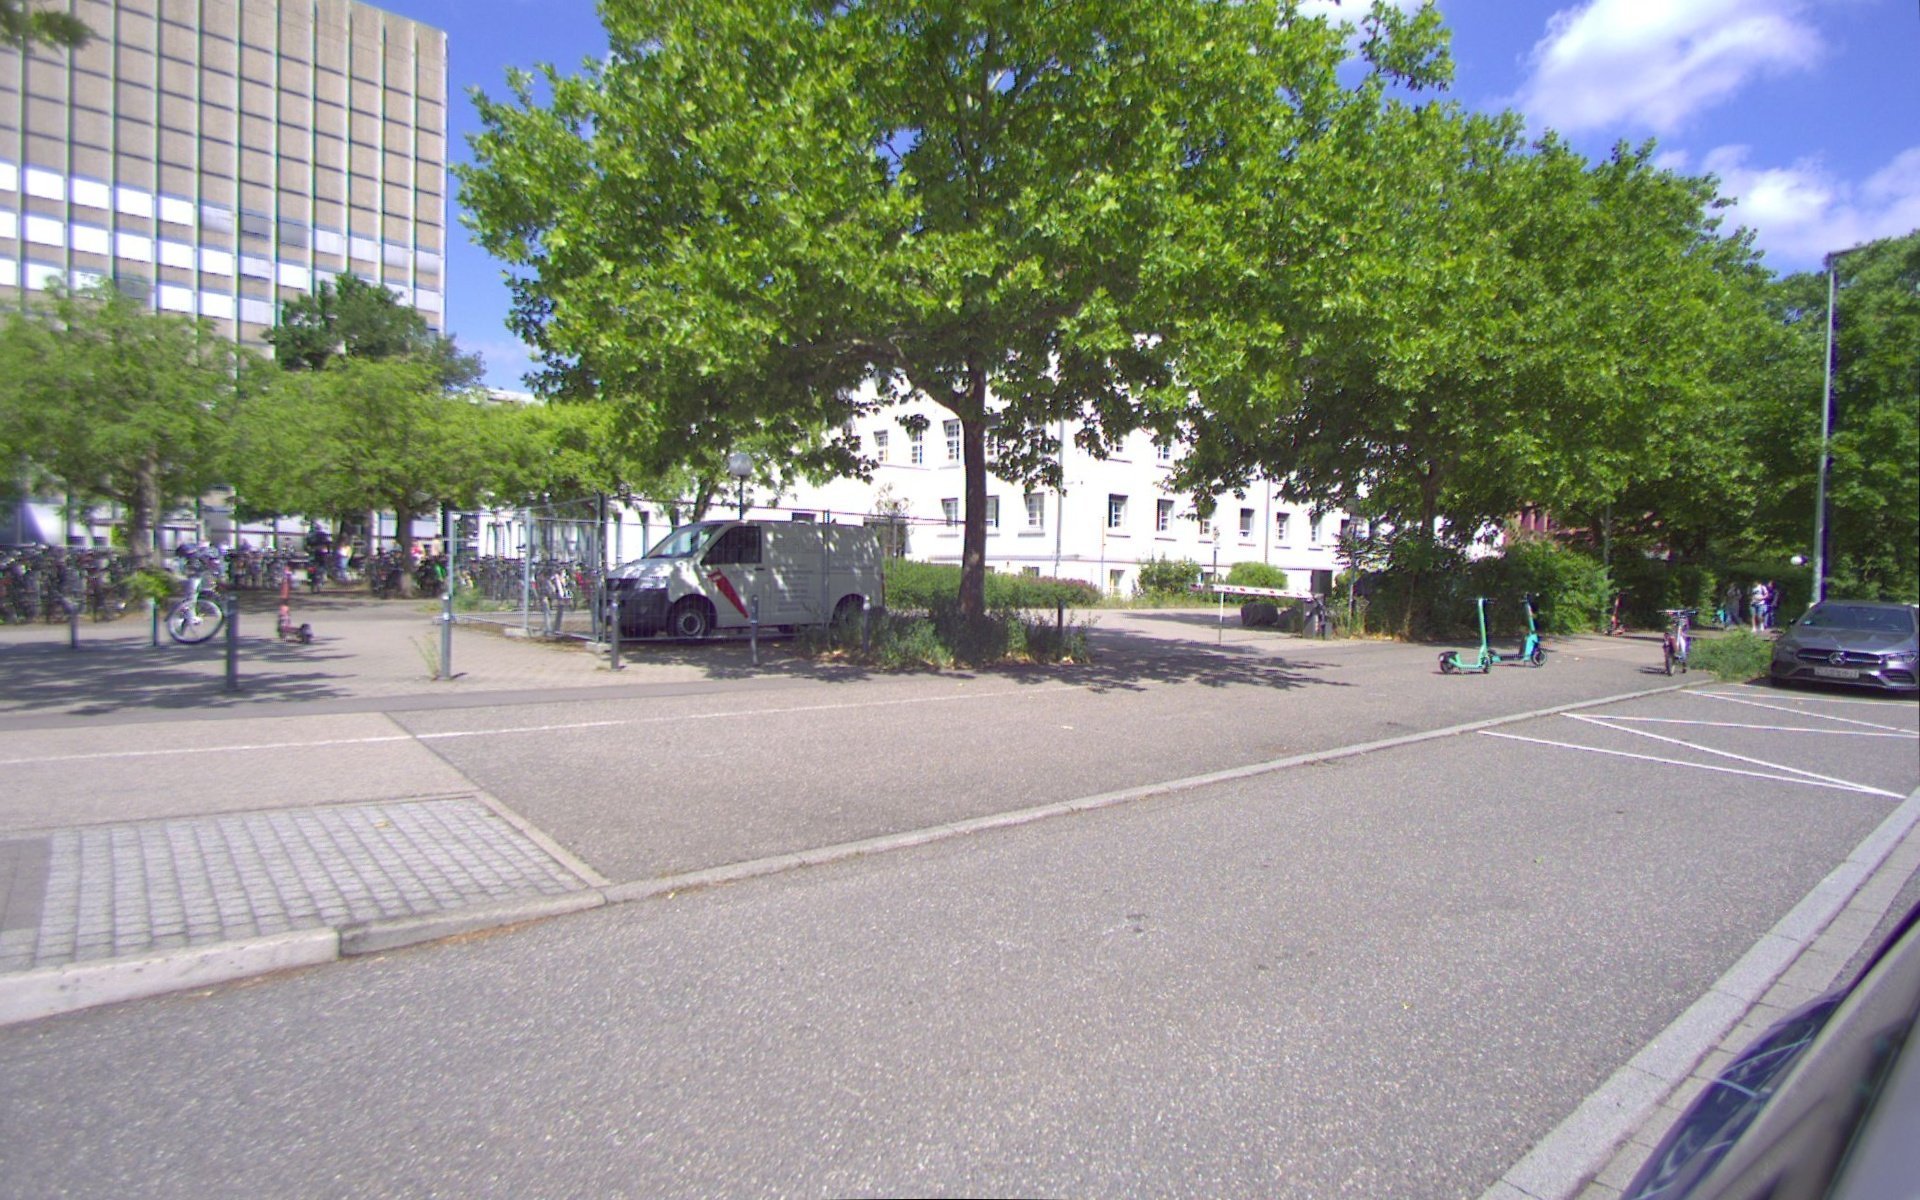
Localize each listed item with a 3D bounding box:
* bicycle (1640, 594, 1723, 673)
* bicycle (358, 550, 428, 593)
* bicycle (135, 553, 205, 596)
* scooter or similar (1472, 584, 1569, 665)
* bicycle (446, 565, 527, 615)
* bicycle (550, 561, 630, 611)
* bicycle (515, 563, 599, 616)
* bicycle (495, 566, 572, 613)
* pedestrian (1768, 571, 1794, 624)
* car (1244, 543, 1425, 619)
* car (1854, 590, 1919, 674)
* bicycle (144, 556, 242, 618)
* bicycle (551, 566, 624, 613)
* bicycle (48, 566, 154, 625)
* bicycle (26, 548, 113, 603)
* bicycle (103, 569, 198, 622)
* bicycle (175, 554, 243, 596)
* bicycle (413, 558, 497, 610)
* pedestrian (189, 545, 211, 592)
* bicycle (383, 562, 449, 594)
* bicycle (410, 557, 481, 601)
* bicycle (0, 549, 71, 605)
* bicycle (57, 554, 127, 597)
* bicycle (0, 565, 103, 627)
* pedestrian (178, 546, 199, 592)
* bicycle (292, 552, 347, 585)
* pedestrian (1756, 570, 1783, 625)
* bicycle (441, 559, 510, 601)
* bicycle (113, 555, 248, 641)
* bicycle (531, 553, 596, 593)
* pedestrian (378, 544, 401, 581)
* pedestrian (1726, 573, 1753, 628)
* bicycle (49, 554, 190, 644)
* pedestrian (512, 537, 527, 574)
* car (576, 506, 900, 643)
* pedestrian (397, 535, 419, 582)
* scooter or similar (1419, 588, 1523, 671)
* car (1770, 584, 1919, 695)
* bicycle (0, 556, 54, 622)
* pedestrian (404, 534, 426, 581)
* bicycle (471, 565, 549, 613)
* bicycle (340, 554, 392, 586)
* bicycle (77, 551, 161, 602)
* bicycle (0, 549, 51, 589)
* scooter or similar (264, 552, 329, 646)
[{"bbox_3d":[12.139,0.539,17.000,2.082,1.205,0.639,1,3,-42],"label":"bicycle"},{"bbox_3d":[-15.056,-0.735,26.868,1.744,1.113,0.600,0,0,19],"label":"bicycle"},{"bbox_3d":[-20.747,-0.657,26.564,1.744,1.113,0.600,0,0,19],"label":"bicycle"},{"bbox_3d":[9.298,0.398,16.816,1.263,1.261,0.531,2,2,-6],"label":"scooter or similar"},{"bbox_3d":[-10.755,-0.233,22.975,1.745,1.113,0.600,0,0,19],"label":"bicycle"},{"bbox_3d":[-8.411,-0.311,23.017,1.745,1.113,0.600,0,0,19],"label":"bicycle"},{"bbox_3d":[-8.773,-0.229,22.038,1.745,1.113,0.600,0,0,19],"label":"bicycle"},{"bbox_3d":[-10.241,-0.247,24.300,1.745,1.113,0.600,0,0,19],"label":"bicycle"},{"bbox_3d":[28.376,-0.105,34.976,0.681,1.803,0.779,0,0,42],"label":"pedestrian"},{"bbox_3d":[9.672,-0.473,26.335,1.967,1.805,3.990,0,0,-43],"label":"car"},{"bbox_3d":[19.287,0.638,19.605,4.846,1.468,1.745,1,3,-34],"label":"car"},{"bbox_3d":[-14.321,-0.242,18.902,1.745,1.113,0.600,0,0,19],"label":"bicycle"},{"bbox_3d":[-9.032,-0.253,24.542,1.744,1.113,0.513,0,0,19],"label":"bicycle"},{"bbox_3d":[-14.939,-0.089,17.600,1.745,0.966,0.600,2,1,19],"label":"bicycle"},{"bbox_3d":[-18.826,-0.508,21.387,1.744,1.113,0.600,0,0,19],"label":"bicycle"},{"bbox_3d":[-14.690,-0.091,18.364,1.745,0.879,0.481,2,1,19],"label":"bicycle"},{"bbox_3d":[-20.256,-0.666,27.305,1.744,1.113,0.600,0,0,19],"label":"bicycle"},{"bbox_3d":[-11.071,-0.338,22.186,1.745,1.113,0.600,0,0,19],"label":"bicycle"},{"bbox_3d":[-36.621,-1.526,48.756,0.701,2.257,0.635,0,0,-23],"label":"pedestrian"},{"bbox_3d":[-14.960,-0.600,27.830,1.744,0.880,0.600,0,0,19],"label":"bicycle"},{"bbox_3d":[-13.321,-0.545,26.226,1.744,1.113,0.600,0,0,19],"label":"bicycle"},{"bbox_3d":[-19.080,-0.466,20.665,1.744,1.113,0.600,0,0,19],"label":"bicycle"},{"bbox_3d":[-22.635,-0.632,26.392,1.744,1.113,0.600,0,0,19],"label":"bicycle"},{"bbox_3d":[-15.187,-0.081,16.837,1.745,0.966,0.600,2,1,19],"label":"bicycle"},{"bbox_3d":[-38.258,-1.536,50.200,0.701,2.257,0.635,0,0,-23],"label":"pedestrian"},{"bbox_3d":[-21.725,-1.053,34.333,1.744,1.113,0.600,0,0,19],"label":"bicycle"},{"bbox_3d":[26.609,-0.084,33.289,0.680,1.803,0.780,0,0,38],"label":"pedestrian"},{"bbox_3d":[-12.982,-0.532,27.112,1.744,1.113,0.600,0,0,19],"label":"bicycle"},{"bbox_3d":[-10.576,-0.033,13.731,1.745,1.113,0.600,0,0,19],"label":"bicycle"},{"bbox_3d":[-11.117,-0.749,28.389,1.744,1.113,0.600,0,0,19],"label":"bicycle"},{"bbox_3d":[-27.854,-1.827,49.417,0.626,1.800,0.712,0,0,19],"label":"pedestrian"},{"bbox_3d":[26.072,0.012,33.858,0.680,1.803,0.781,0,0,36],"label":"pedestrian"},{"bbox_3d":[-10.882,-0.016,13.104,1.745,1.113,0.600,0,0,19],"label":"bicycle"},{"bbox_3d":[-21.085,-2.114,48.469,0.443,1.738,0.498,4,3,44],"label":"pedestrian"},{"bbox_3d":[-3.434,-0.397,16.364,4.860,1.888,1.899,-1,1,-44],"label":"car"},{"bbox_3d":[-26.905,-2.032,49.340,0.626,2.257,0.712,0,0,19],"label":"pedestrian"},{"bbox_3d":[7.678,0.440,15.194,1.542,1.183,0.531,2,2,-28],"label":"scooter or similar"},{"bbox_3d":[15.055,0.590,16.598,4.855,1.496,1.861,1,3,-41],"label":"car"},{"bbox_3d":[-16.884,-0.214,17.836,1.745,1.112,0.600,2,1,19],"label":"bicycle"},{"bbox_3d":[-26.289,-2.030,48.838,0.626,2.257,0.712,0,0,19],"label":"pedestrian"},{"bbox_3d":[-10.513,-0.254,23.651,1.745,1.113,0.600,0,0,19],"label":"bicycle"},{"bbox_3d":[-21.138,-1.042,35.993,1.744,1.113,0.600,0,0,19],"label":"bicycle"},{"bbox_3d":[-18.517,-0.507,22.283,1.744,1.113,0.600,0,0,19],"label":"bicycle"},{"bbox_3d":[-26.431,-0.859,28.413,1.744,1.113,0.600,0,0,19],"label":"bicycle"},{"bbox_3d":[-9.049,-0.031,13.786,1.290,1.248,0.277,1,2,35],"label":"scooter or similar"}]
